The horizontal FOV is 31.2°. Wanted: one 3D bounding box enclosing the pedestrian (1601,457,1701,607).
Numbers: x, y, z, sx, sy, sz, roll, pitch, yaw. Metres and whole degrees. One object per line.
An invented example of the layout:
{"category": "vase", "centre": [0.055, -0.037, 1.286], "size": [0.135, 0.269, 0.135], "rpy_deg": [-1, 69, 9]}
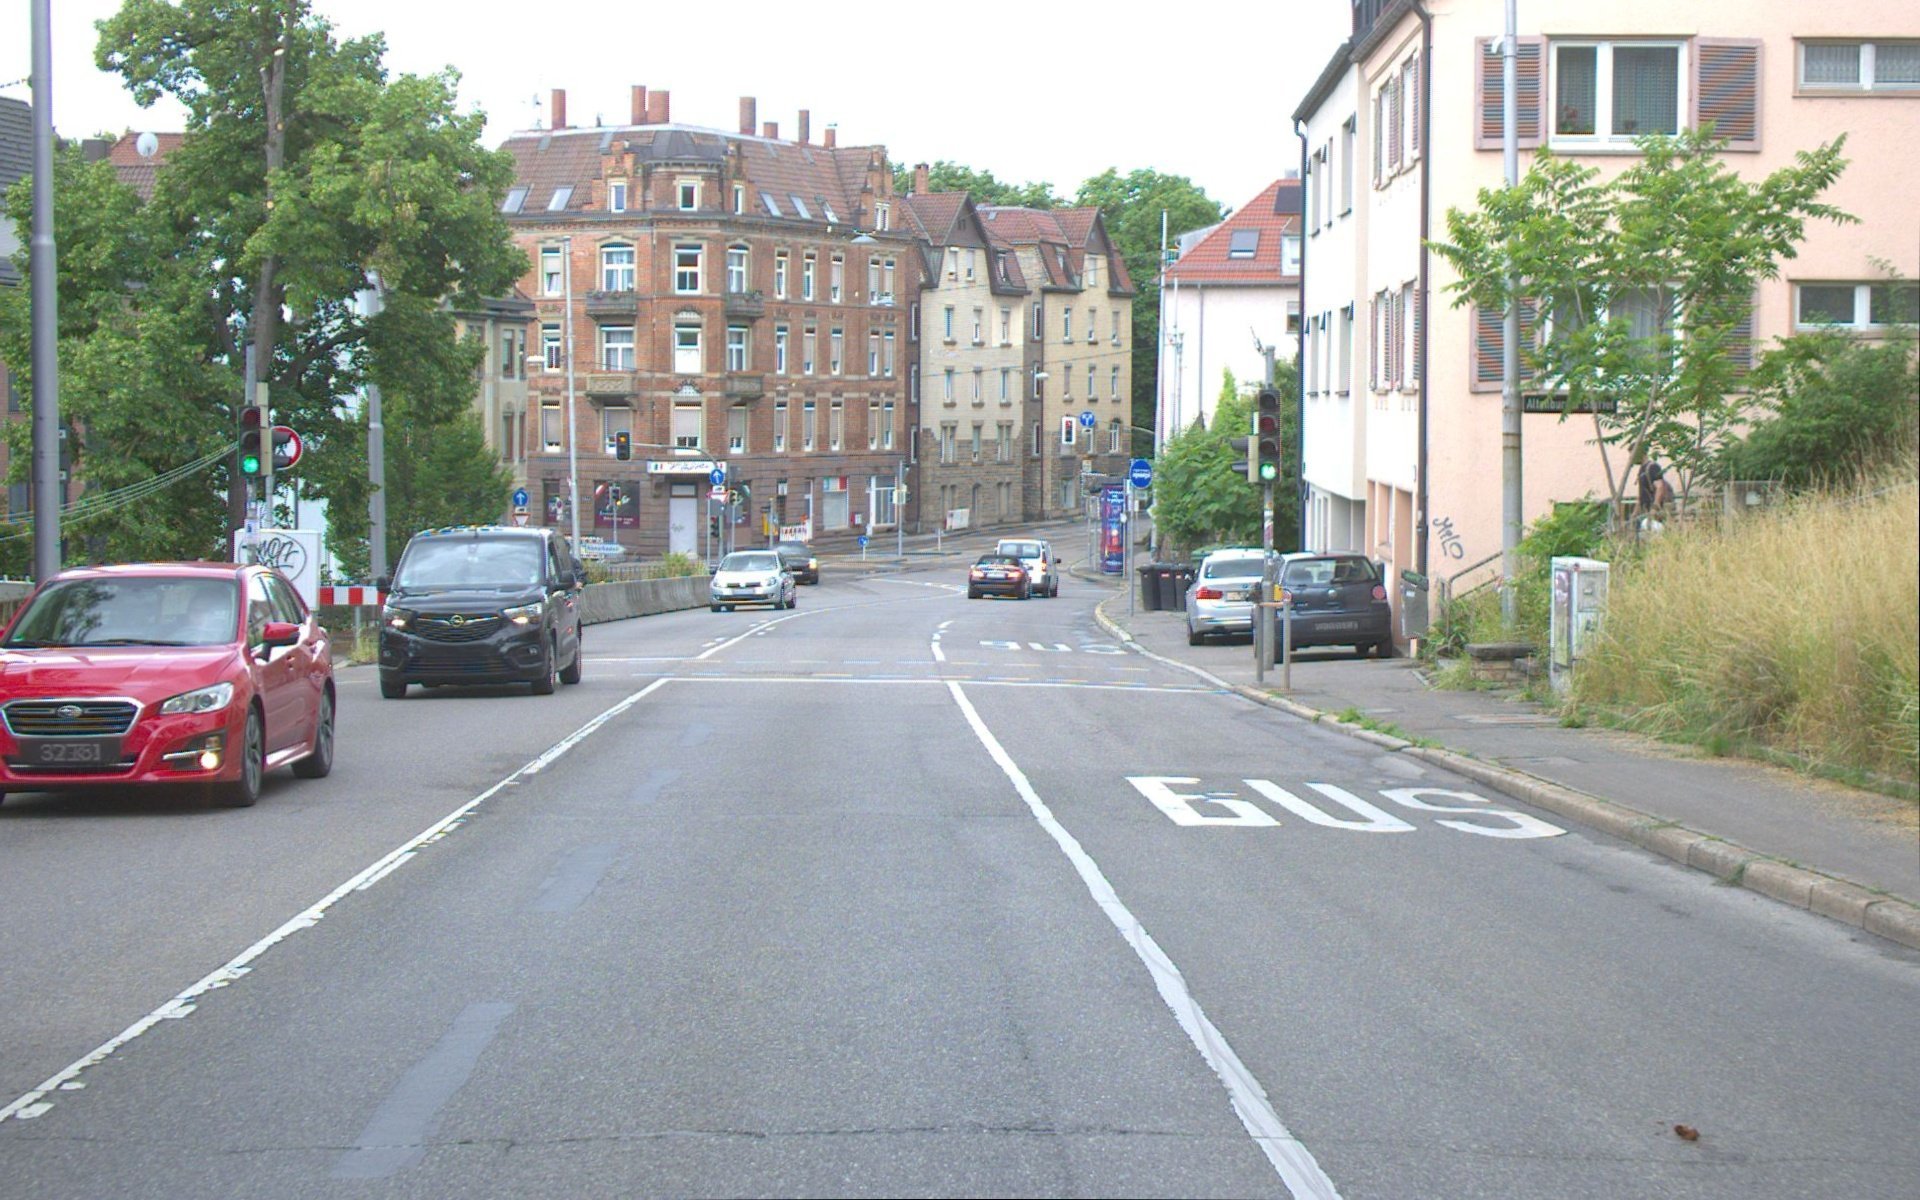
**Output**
{"category": "pedestrian", "centre": [7.998, -0.784, 39.842], "size": [0.887, 1.690, 0.873], "rpy_deg": [2, 0, -4]}

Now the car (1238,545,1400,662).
{"category": "car", "centre": [4.875, 0.031, 47.095], "size": [1.681, 1.446, 4.000], "rpy_deg": [-3, 0, -1]}

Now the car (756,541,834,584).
{"category": "car", "centre": [-6.376, -1.456, 133.354], "size": [1.983, 1.569, 4.373], "rpy_deg": [-1, 1, 11]}

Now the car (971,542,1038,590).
{"category": "car", "centre": [1.408, -1.081, 107.358], "size": [1.817, 1.425, 4.000], "rpy_deg": [2, 1, 4]}

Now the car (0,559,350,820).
{"category": "car", "centre": [-5.109, 0.485, 21.728], "size": [1.783, 1.454, 4.429], "rpy_deg": [-1, 1, -1]}

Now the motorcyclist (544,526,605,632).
{"category": "motorcyclist", "centre": [-5.551, -0.307, 49.520], "size": [0.785, 1.511, 0.668], "rpy_deg": [-1, 1, -1]}

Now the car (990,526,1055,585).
{"category": "car", "centre": [2.087, -1.480, 114.099], "size": [1.909, 1.877, 4.000], "rpy_deg": [2, 1, 4]}

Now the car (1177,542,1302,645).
{"category": "car", "centre": [4.495, -0.140, 55.894], "size": [1.794, 1.446, 4.718], "rpy_deg": [-3, 1, 3]}

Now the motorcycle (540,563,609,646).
{"category": "motorcycle", "centre": [-5.547, 0.051, 49.516], "size": [0.785, 1.141, 2.057], "rpy_deg": [-1, 1, -1]}

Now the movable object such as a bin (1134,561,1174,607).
{"category": "movable object such as a bin", "centre": [4.398, -0.361, 77.929], "size": [0.742, 1.055, 0.679], "rpy_deg": [0, 0, -15]}

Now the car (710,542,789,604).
{"category": "car", "centre": [-5.108, -0.669, 83.675], "size": [1.720, 1.440, 4.159], "rpy_deg": [-1, 1, -1]}

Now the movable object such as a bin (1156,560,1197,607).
{"category": "movable object such as a bin", "centre": [4.868, -0.365, 77.240], "size": [0.742, 1.055, 0.679], "rpy_deg": [0, 0, -15]}

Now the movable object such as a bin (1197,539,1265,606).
{"category": "movable object such as a bin", "centre": [5.848, -0.591, 74.279], "size": [1.047, 1.440, 1.419], "rpy_deg": [0, 0, -15]}

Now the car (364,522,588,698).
{"category": "car", "centre": [-5.107, 0.068, 36.778], "size": [1.784, 1.740, 4.429], "rpy_deg": [-1, 1, 0]}

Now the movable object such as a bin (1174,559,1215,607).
{"category": "movable object such as a bin", "centre": [5.210, -0.372, 76.388], "size": [0.742, 1.055, 0.679], "rpy_deg": [0, 0, -15]}
